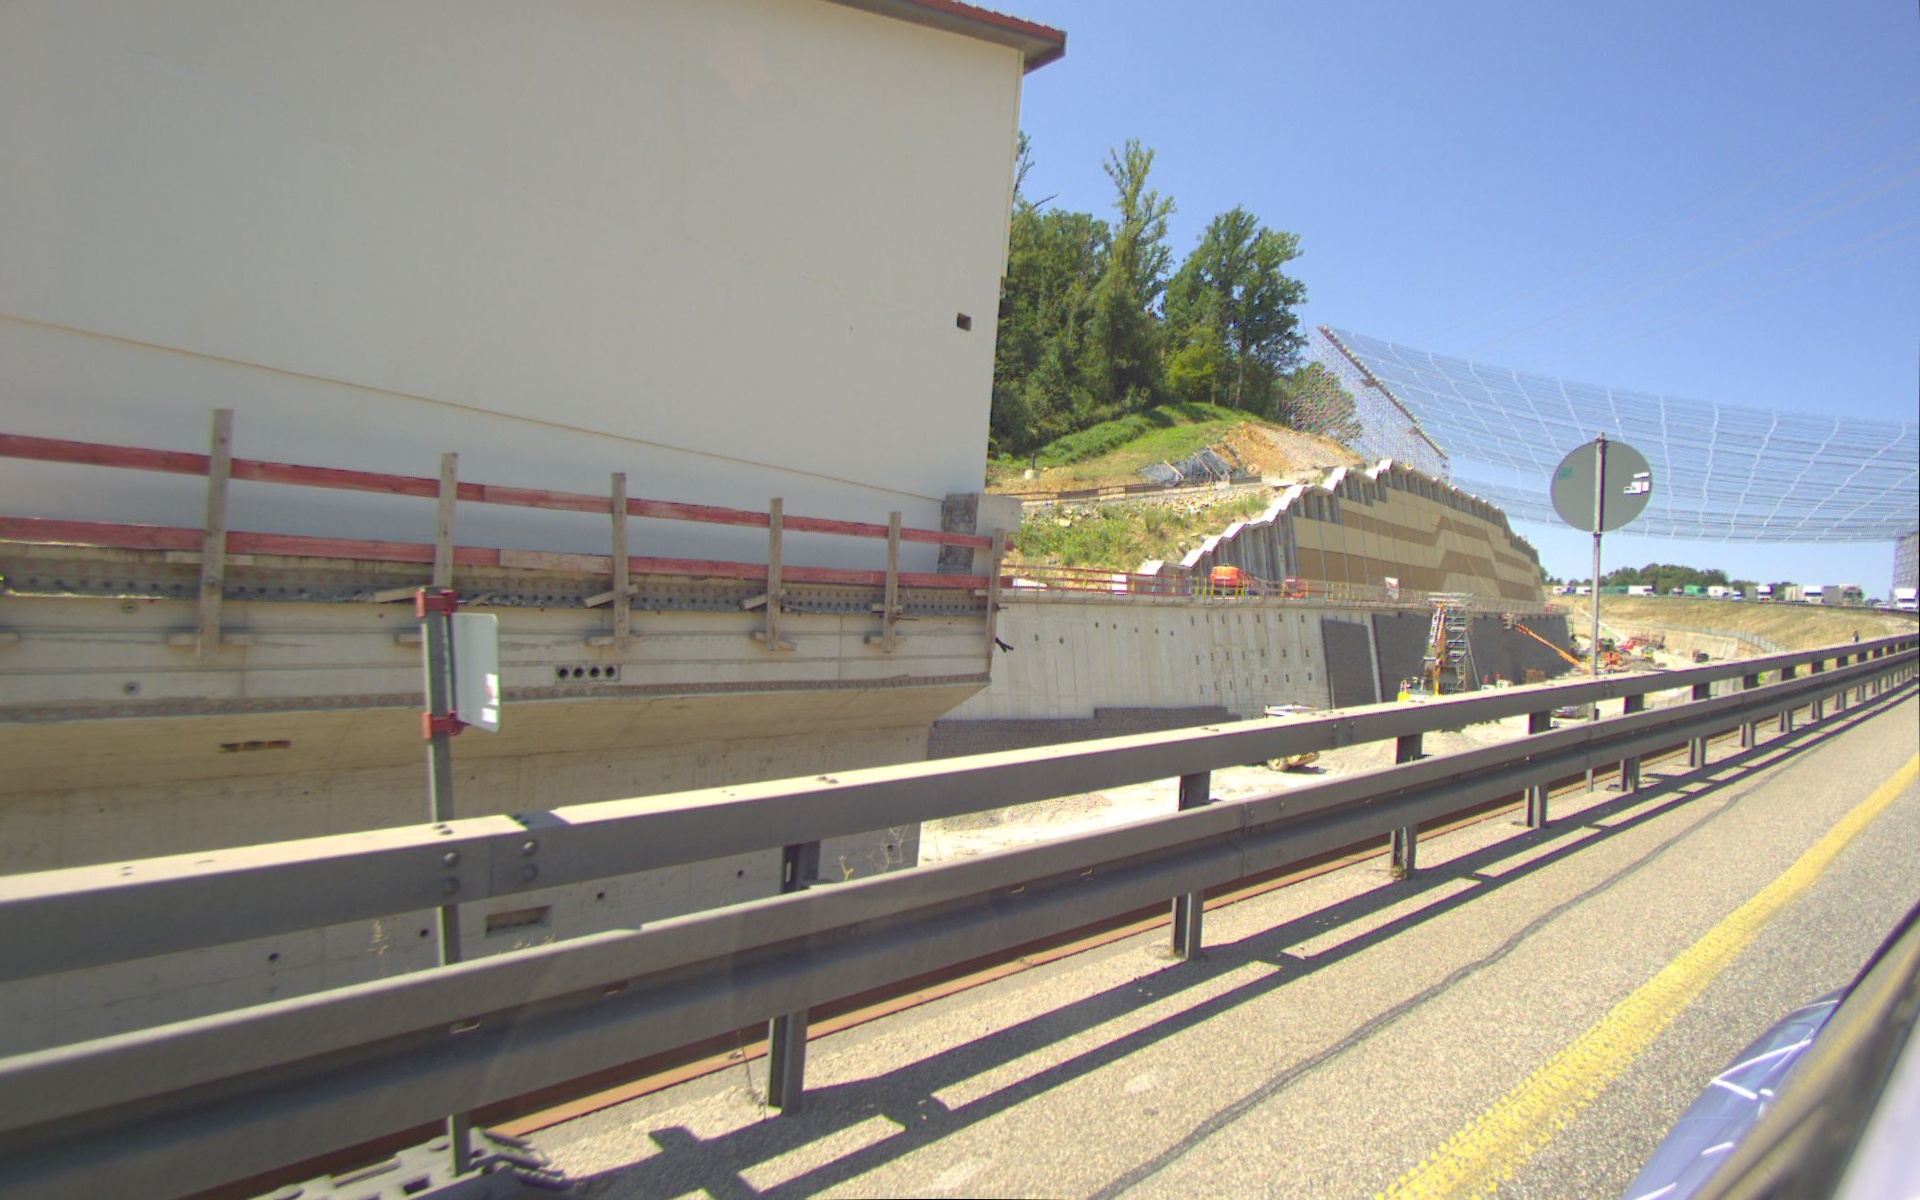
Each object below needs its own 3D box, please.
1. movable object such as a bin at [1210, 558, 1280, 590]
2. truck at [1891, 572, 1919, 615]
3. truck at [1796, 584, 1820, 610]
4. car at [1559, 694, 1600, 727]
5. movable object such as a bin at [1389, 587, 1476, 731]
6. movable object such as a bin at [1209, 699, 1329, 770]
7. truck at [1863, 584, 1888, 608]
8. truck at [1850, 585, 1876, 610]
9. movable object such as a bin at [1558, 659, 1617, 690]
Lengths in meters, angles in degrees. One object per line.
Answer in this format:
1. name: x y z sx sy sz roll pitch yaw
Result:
1. movable object such as a bin: 19.270 -1.722 68.233 5.264 2.039 2.078 -1 0 -42
2. truck: 108.849 -0.772 115.996 3.032 4.866 8.804 -1 0 43
3. truck: 147.375 -0.584 175.799 3.031 4.314 8.809 -1 0 41
4. car: 47.410 8.432 77.412 1.993 2.039 3.938 -1 0 43
5. movable object such as a bin: 25.960 3.020 55.490 2.920 7.446 6.153 -1 0 39
6. movable object such as a bin: 14.378 6.197 47.306 2.023 2.625 5.116 1 -1 -39
7. truck: 161.750 -0.766 178.744 2.975 4.217 8.802 -1 0 43
8. truck: 148.873 -0.446 166.778 3.032 4.107 8.542 -1 0 43
9. movable object such as a bin: 62.959 7.411 101.634 2.176 2.669 5.505 -1 0 -4
